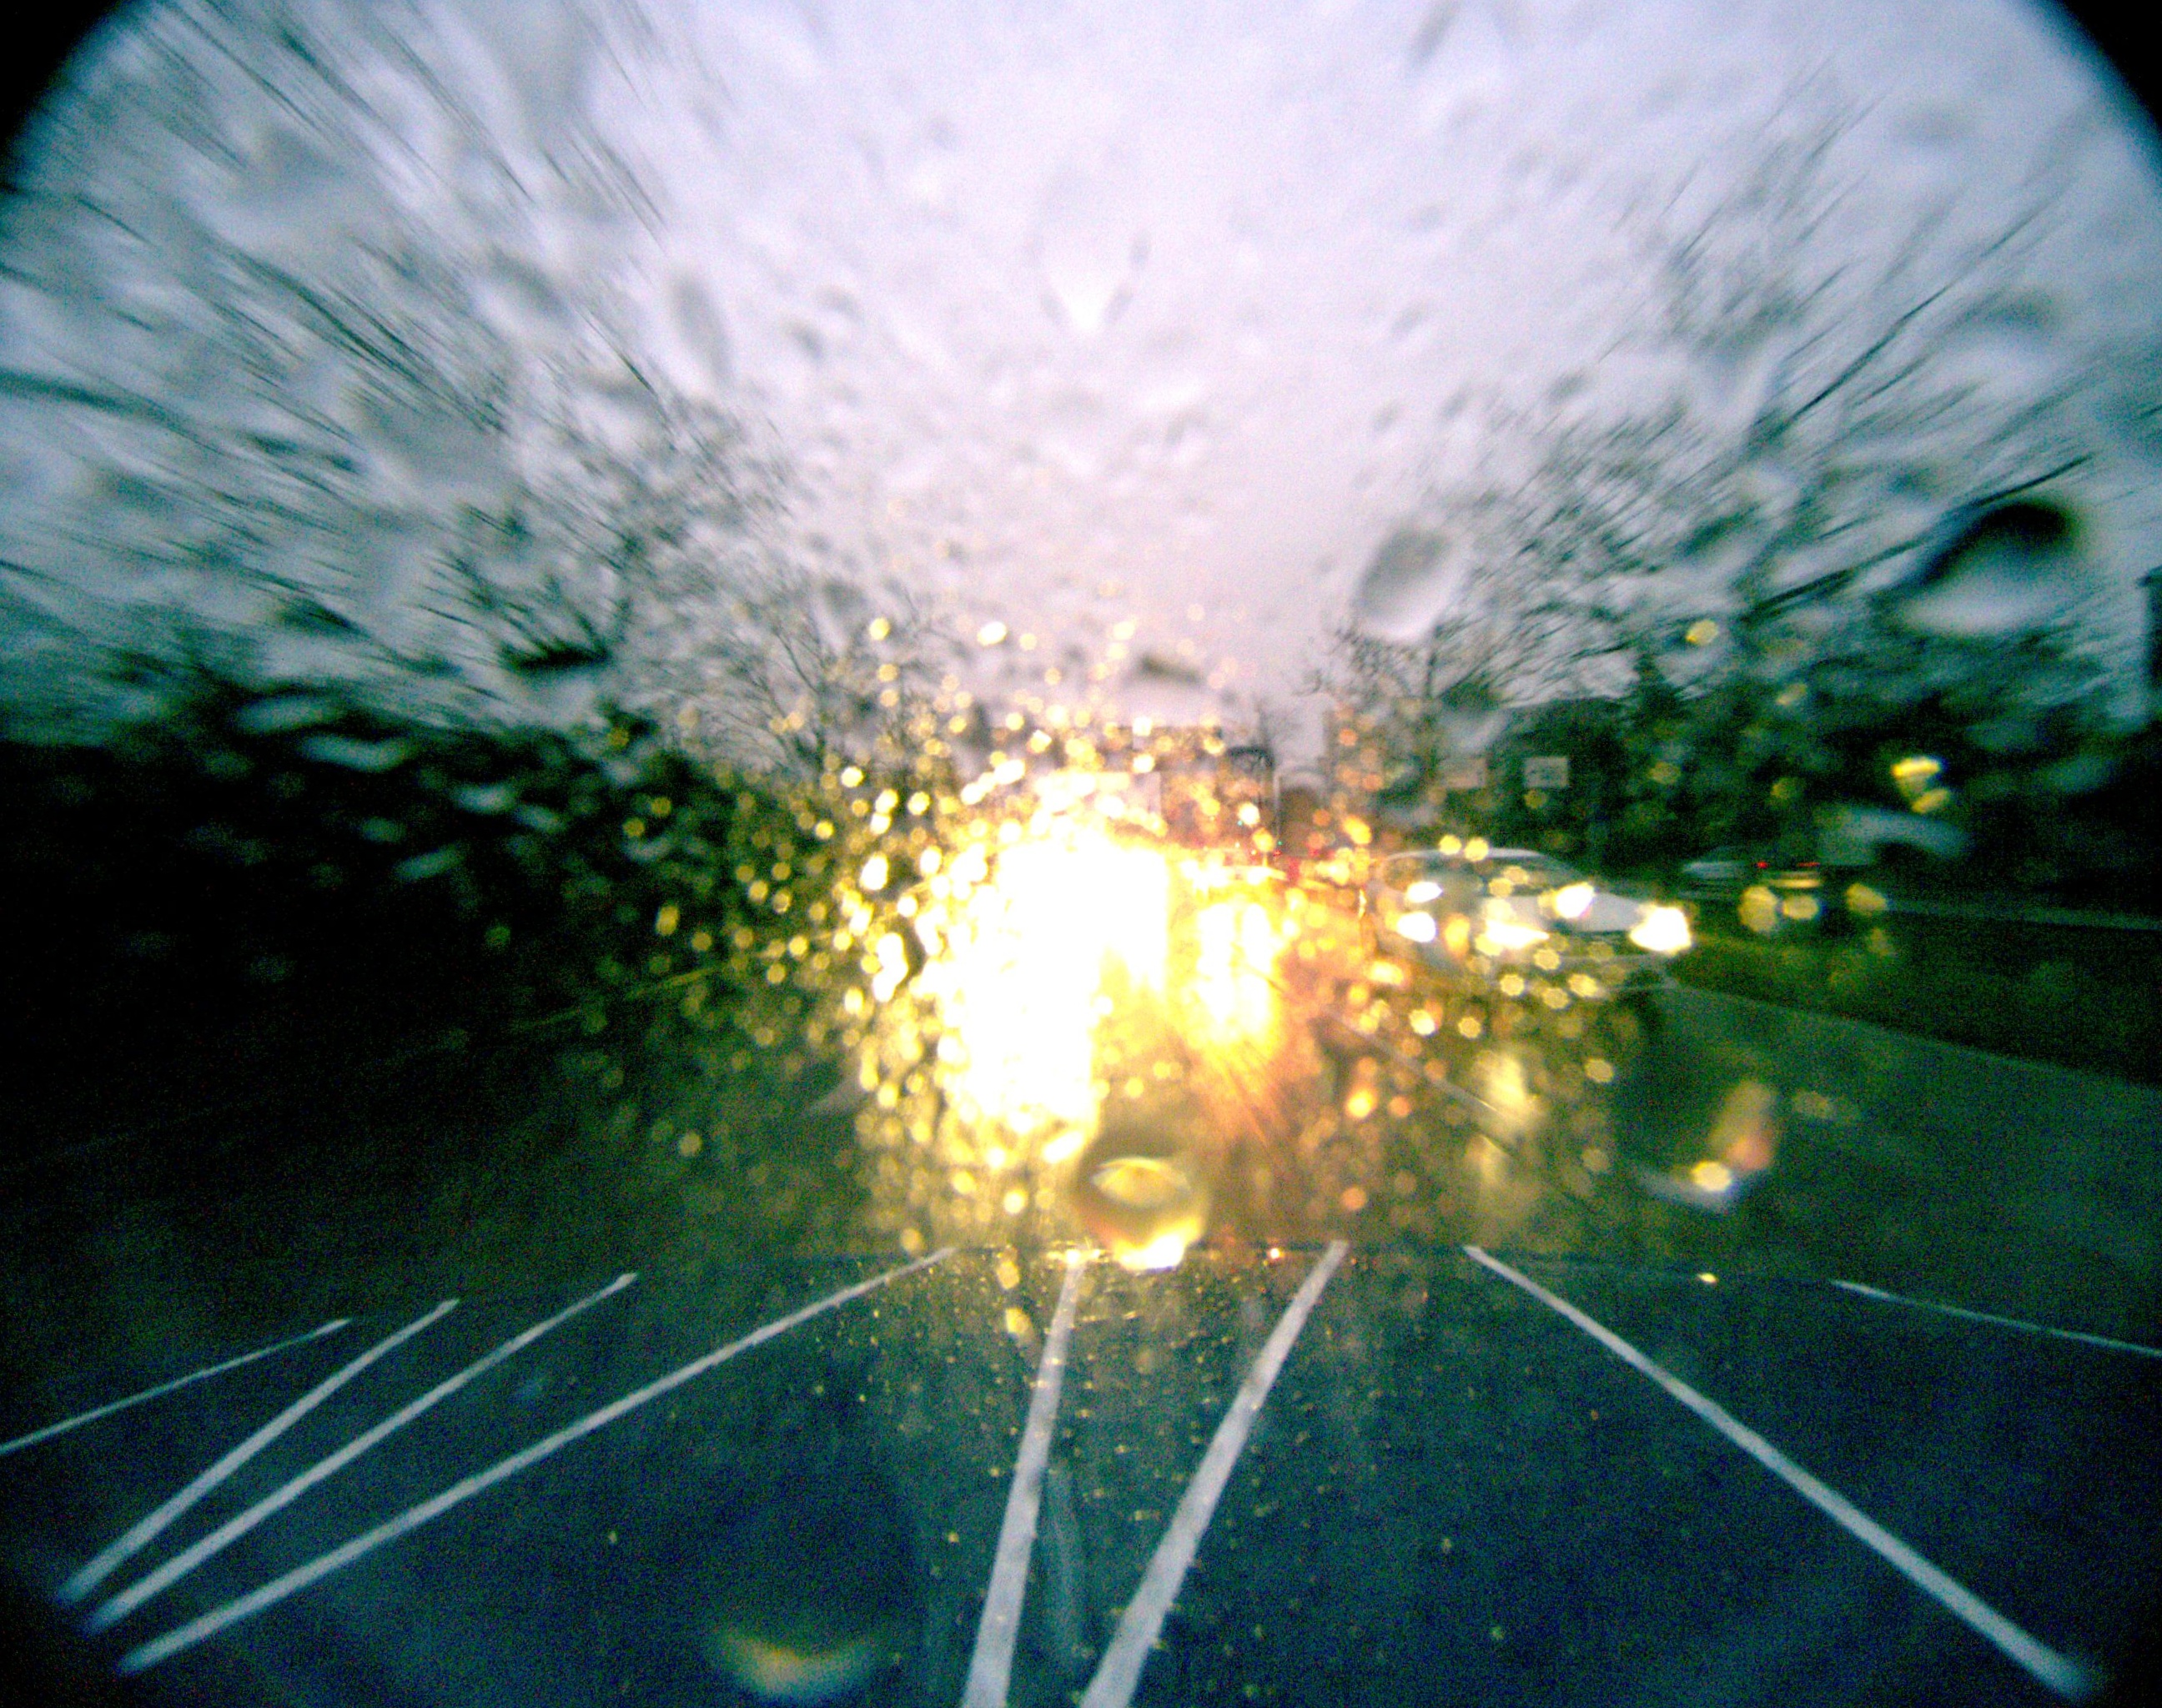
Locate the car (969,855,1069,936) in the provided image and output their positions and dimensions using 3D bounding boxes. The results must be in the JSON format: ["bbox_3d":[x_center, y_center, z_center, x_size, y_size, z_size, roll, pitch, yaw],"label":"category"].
[{"bbox_3d":[-1.250,0.820,16.969,1.830,1.524,3.999,-1,1,1],"label":"car"}]

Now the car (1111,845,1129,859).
[{"bbox_3d":[4.597,-0.277,89.649,1.852,1.610,3.950,-2,1,0],"label":"car"}]

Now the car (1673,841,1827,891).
[{"bbox_3d":[21.886,0.331,25.088,1.653,1.491,3.956,-1,1,1],"label":"car"}]

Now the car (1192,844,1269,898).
[{"bbox_3d":[4.811,0.484,24.983,1.765,1.590,4.164,-1,1,1],"label":"car"}]

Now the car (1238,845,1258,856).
[{"bbox_3d":[19.519,-0.407,88.948,1.459,1.190,3.999,-2,1,1],"label":"car"}]

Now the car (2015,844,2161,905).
[{"bbox_3d":[24.969,0.453,17.775,1.653,1.346,3.704,-1,1,-1],"label":"car"}]

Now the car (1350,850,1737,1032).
[{"bbox_3d":[4.541,0.708,8.352,1.728,1.432,4.225,-1,1,1],"label":"car"}]

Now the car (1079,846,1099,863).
[{"bbox_3d":[0.809,0.073,78.072,1.852,1.610,3.950,-2,1,0],"label":"car"}]

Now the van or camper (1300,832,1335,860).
[{"bbox_3d":[22.636,-0.798,72.788,1.968,2.594,4.738,0,1,1],"label":"van or camper"}]

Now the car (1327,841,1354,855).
[{"bbox_3d":[26.595,-0.615,77.992,1.573,1.397,4.000,-2,1,2],"label":"car"}]

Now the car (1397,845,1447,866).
[{"bbox_3d":[22.192,0.078,49.549,1.541,1.304,4.000,-1,1,1],"label":"car"}]

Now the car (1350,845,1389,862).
[{"bbox_3d":[22.604,-0.067,59.676,1.541,1.285,4.000,-1,1,1],"label":"car"}]

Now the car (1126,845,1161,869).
[{"bbox_3d":[4.213,0.162,51.985,2.027,1.522,4.145,-1,1,0],"label":"car"}]

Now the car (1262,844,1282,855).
[{"bbox_3d":[23.067,-0.554,91.882,1.428,1.266,4.000,-1,1,1],"label":"car"}]

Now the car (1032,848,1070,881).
[{"bbox_3d":[-1.483,0.478,38.860,1.728,1.573,3.790,-1,1,1],"label":"car"}]

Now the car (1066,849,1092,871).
[{"bbox_3d":[-0.085,0.372,52.557,1.728,1.456,3.790,-1,1,1],"label":"car"}]

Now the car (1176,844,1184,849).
[{"bbox_3d":[25.016,-1.840,192.312,1.428,1.195,4.000,-1,1,1],"label":"car"}]

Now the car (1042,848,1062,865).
[{"bbox_3d":[-3.030,0.240,79.290,1.852,1.610,3.950,-2,1,0],"label":"car"}]

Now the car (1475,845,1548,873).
[{"bbox_3d":[21.824,0.229,38.709,1.541,1.320,3.956,-1,1,1],"label":"car"}]

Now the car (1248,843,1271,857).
[{"bbox_3d":[19.507,-0.447,83.307,1.573,1.495,3.999,-2,1,1],"label":"car"}]

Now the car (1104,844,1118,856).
[{"bbox_3d":[4.226,-0.528,108.478,1.852,1.610,3.950,-2,1,0],"label":"car"}]
